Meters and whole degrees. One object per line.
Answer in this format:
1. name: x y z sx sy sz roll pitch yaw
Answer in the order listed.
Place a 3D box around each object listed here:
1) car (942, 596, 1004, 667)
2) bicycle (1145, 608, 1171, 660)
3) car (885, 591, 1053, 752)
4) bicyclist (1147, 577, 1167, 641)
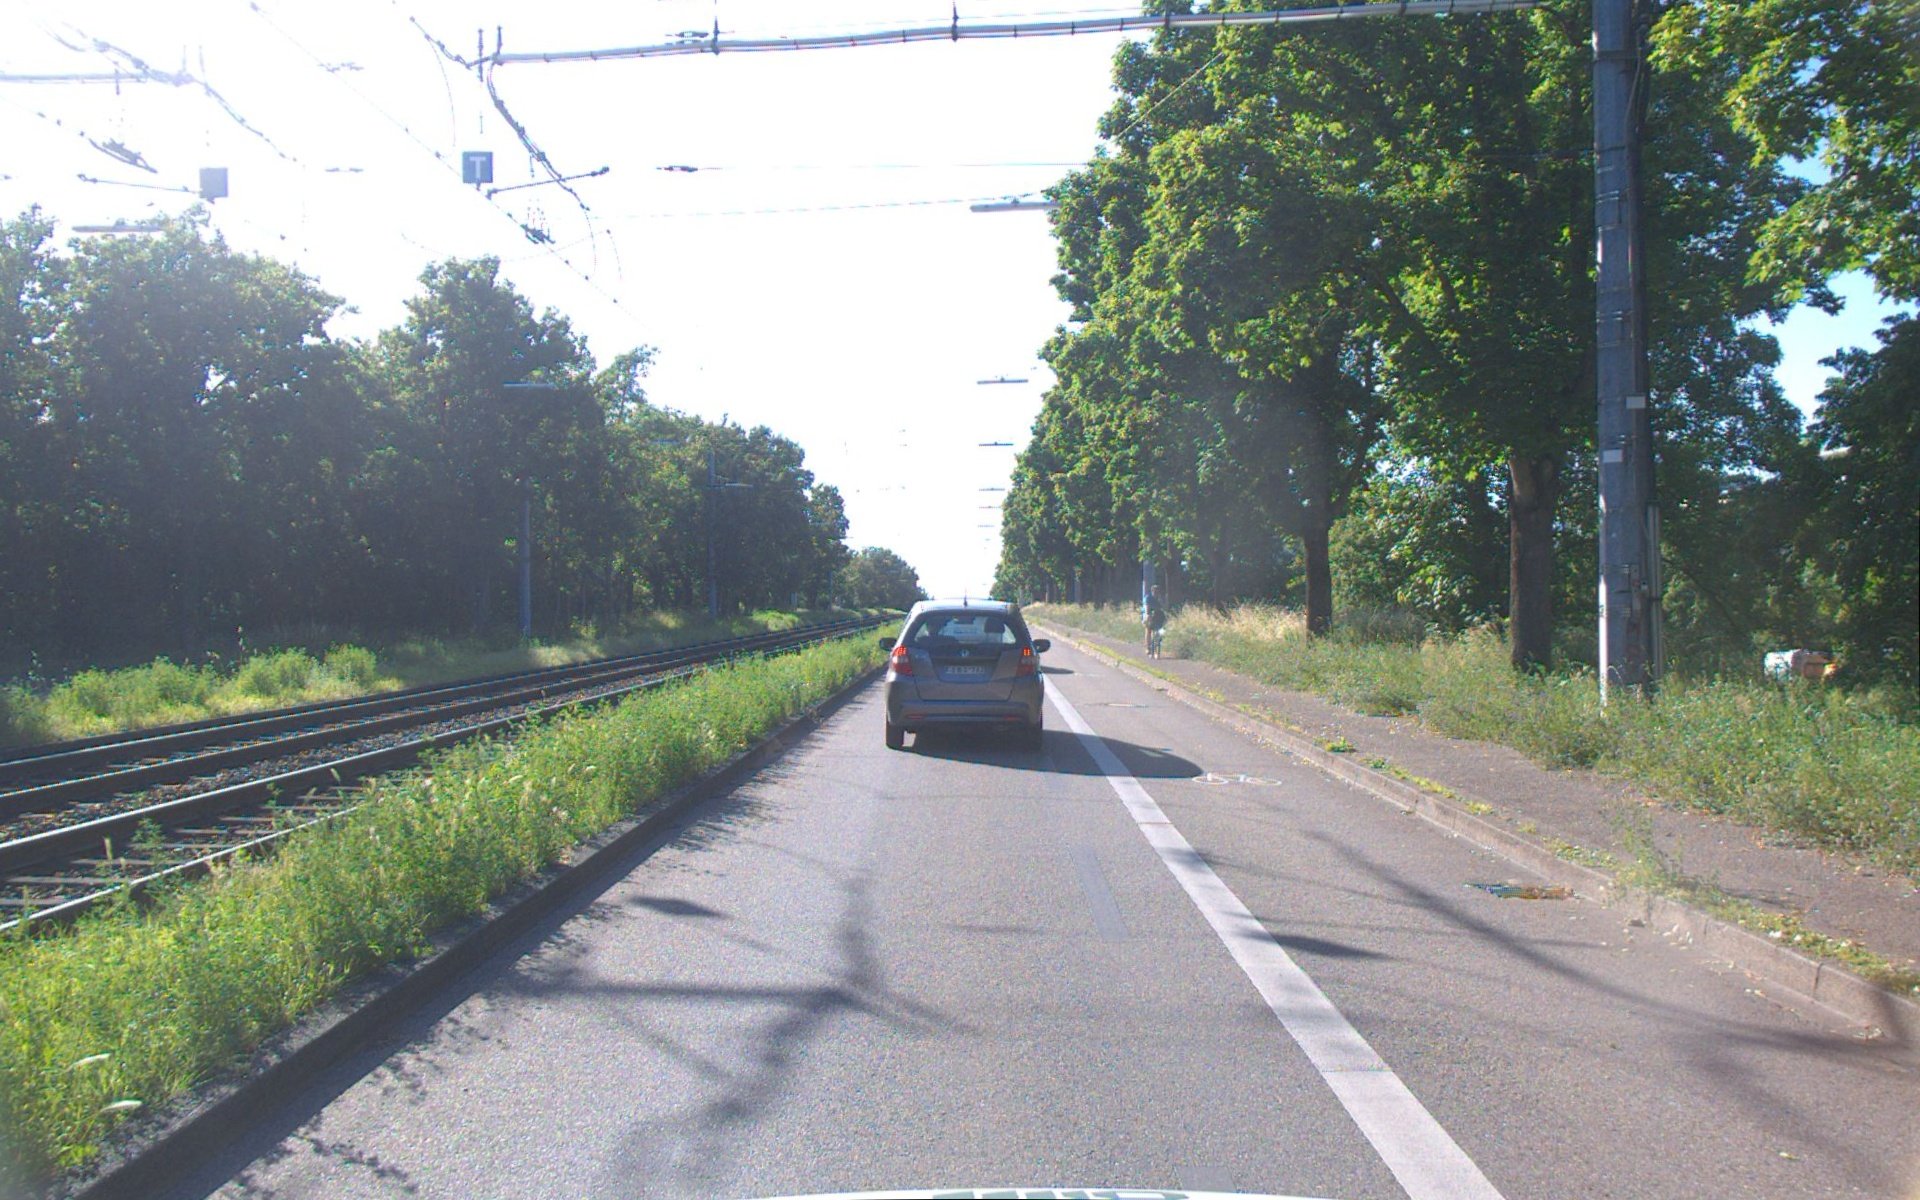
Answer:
1. car: 0.328 0.729 38.086 1.323 1.554 3.123 -1 -1 2
2. bicycle: 4.778 0.798 39.914 0.409 1.209 1.721 -1 0 0
3. car: 0.074 0.703 18.303 1.636 1.542 3.673 1 1 -1
4. bicyclist: 4.801 0.225 40.261 0.397 1.533 0.574 -1 0 0
